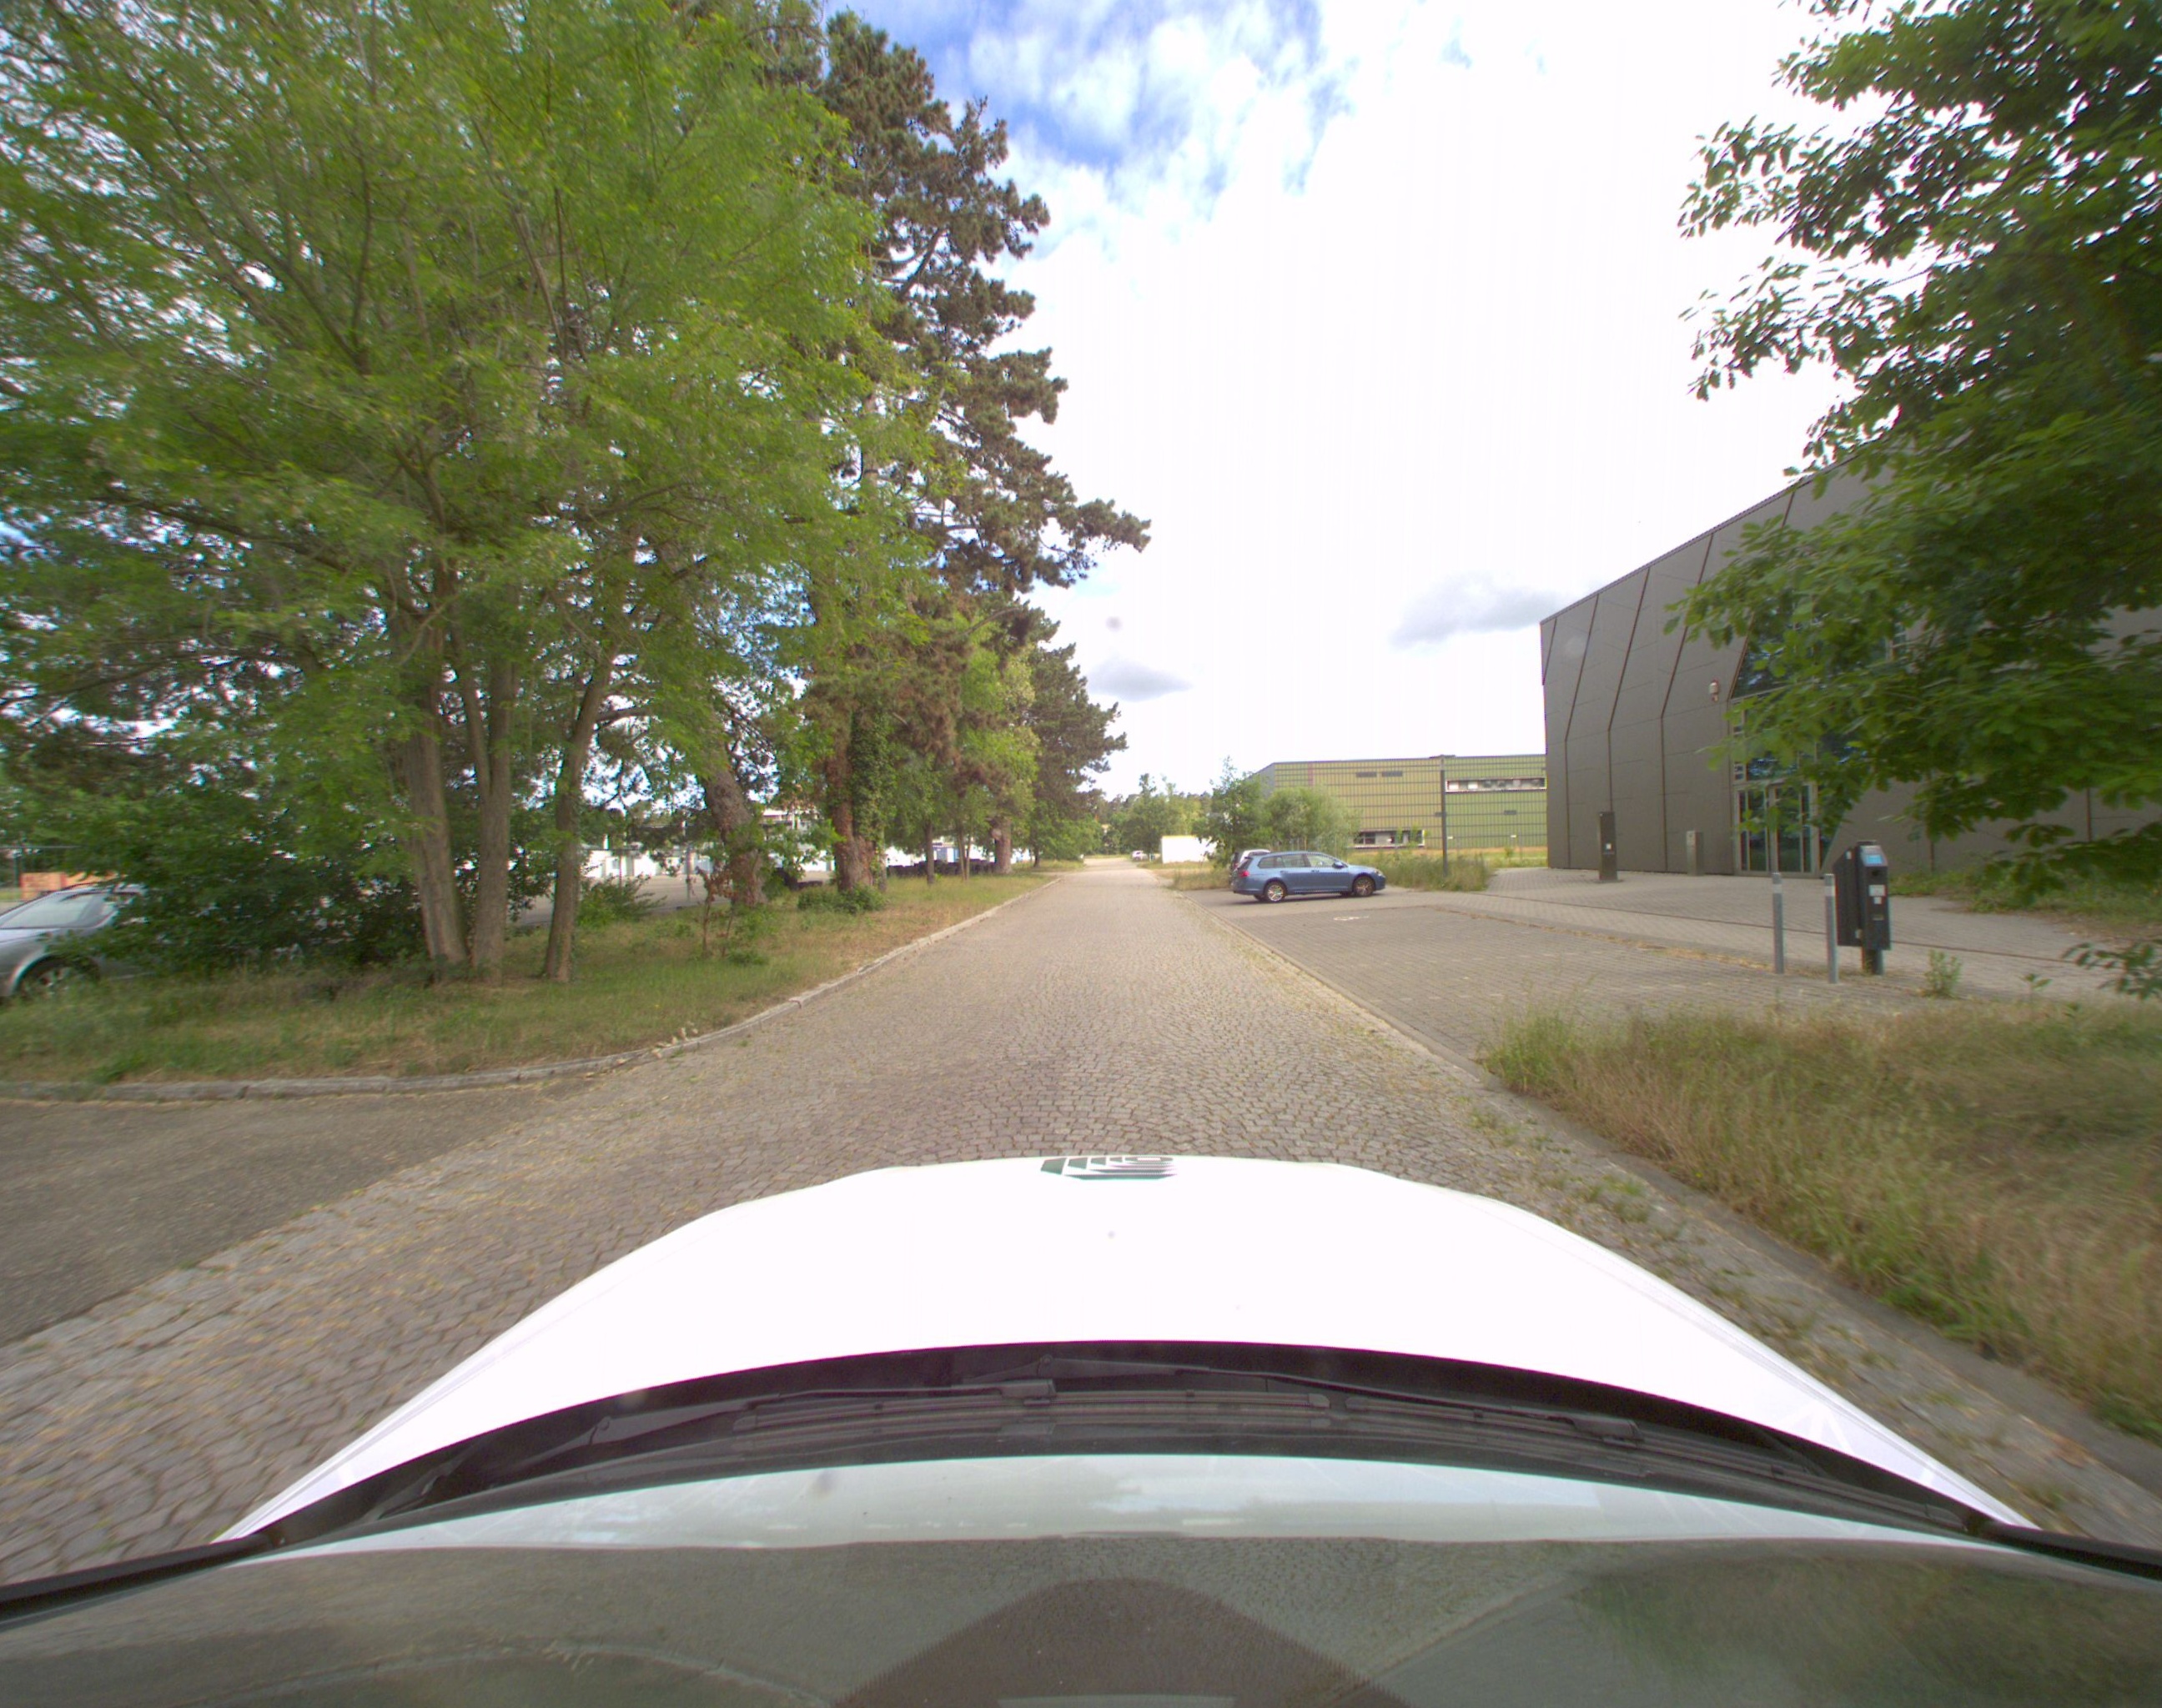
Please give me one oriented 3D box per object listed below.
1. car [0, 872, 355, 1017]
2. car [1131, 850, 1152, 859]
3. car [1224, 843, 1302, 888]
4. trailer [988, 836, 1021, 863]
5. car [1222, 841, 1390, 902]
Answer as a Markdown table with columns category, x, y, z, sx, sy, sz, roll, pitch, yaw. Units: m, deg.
| category | x | y | z | sx | sy | sz | roll | pitch | yaw |
| --- | --- | --- | --- | --- | --- | --- | --- | --- | --- |
| car | -12.284 | 1.018 | 10.517 | 1.819 | 1.416 | 4.421 | -2 | 0 | 0 |
| car | 10.467 | 0.071 | 141.714 | 3.508 | 1.362 | 1.623 | -3 | 0 | 2 |
| car | 7.106 | 0.424 | 32.023 | 2.699 | 1.556 | 1.655 | -4 | 0 | 3 |
| trailer | -10.421 | -0.619 | 112.075 | 2.613 | 3.598 | 10.190 | -1 | 0 | 5 |
| car | 6.692 | 0.504 | 24.564 | 4.477 | 1.475 | 1.830 | -4 | 0 | -1 |
